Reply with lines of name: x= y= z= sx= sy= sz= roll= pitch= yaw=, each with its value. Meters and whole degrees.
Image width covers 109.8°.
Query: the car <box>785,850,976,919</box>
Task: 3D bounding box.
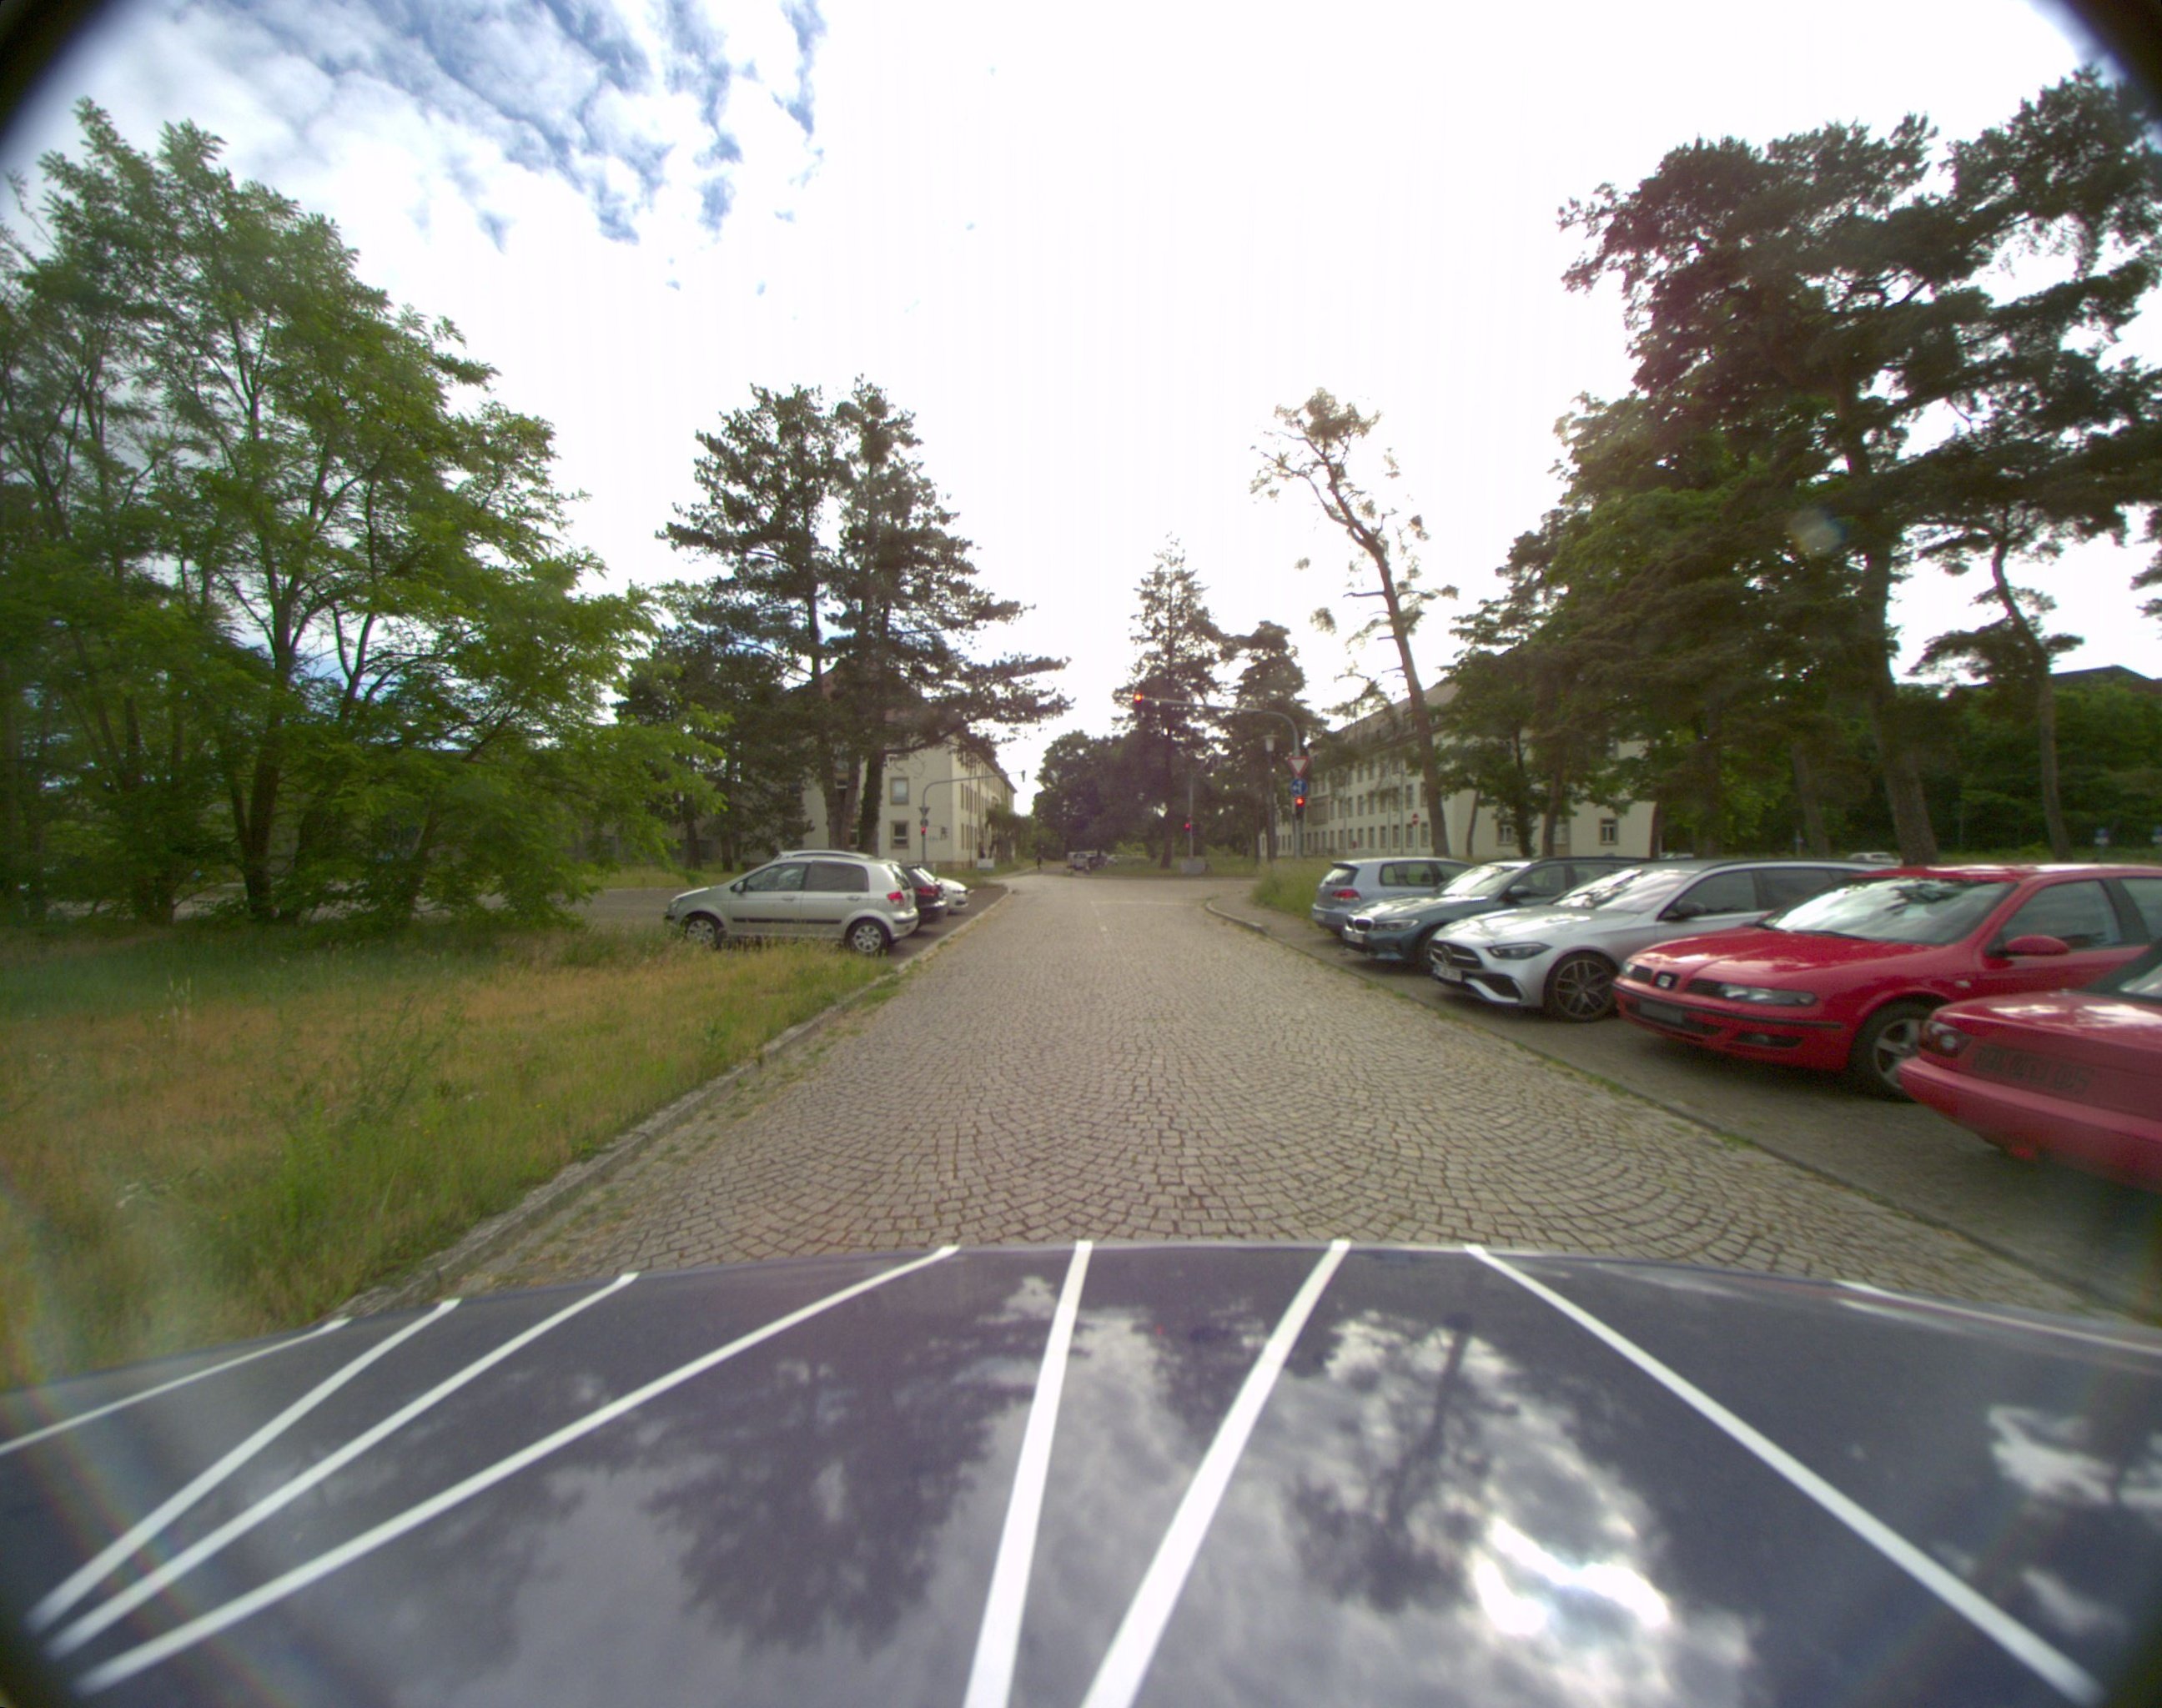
car: x=-5.147 y=0.763 z=20.039 sx=4.505 sy=1.556 sz=1.905 roll=2 pitch=0 yaw=-3

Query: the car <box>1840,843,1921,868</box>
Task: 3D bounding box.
car: x=58.634 y=0.113 z=55.759 sx=3.996 sy=1.796 sz=1.722 roll=0 pitch=1 yaw=2

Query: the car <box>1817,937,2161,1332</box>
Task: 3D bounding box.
car: x=5.954 y=1.066 z=3.062 sx=4.176 sy=1.259 sz=1.831 roll=0 pitch=0 yaw=1

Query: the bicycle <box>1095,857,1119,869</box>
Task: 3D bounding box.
bicycle: x=2.181 y=0.760 z=64.091 sx=1.951 sy=1.059 sz=0.562 roll=0 pitch=1 yaw=-2

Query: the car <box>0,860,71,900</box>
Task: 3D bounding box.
car: x=-42.645 y=1.014 z=29.504 sx=3.998 sy=1.474 sz=1.972 roll=0 pitch=0 yaw=-3

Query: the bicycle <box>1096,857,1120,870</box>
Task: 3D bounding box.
bicycle: x=2.272 y=0.769 z=63.607 sx=1.951 sy=1.059 sz=0.562 roll=0 pitch=1 yaw=-2

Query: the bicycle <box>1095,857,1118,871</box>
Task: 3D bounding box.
bicycle: x=2.071 y=0.801 z=61.874 sx=1.899 sy=1.059 sz=0.616 roll=0 pitch=1 yaw=-2

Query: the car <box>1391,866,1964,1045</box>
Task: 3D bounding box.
car: x=5.734 y=0.910 z=7.727 sx=4.386 sy=1.499 sz=1.935 roll=0 pitch=0 yaw=-3

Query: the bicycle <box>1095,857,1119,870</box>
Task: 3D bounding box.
bicycle: x=2.120 y=0.768 z=62.429 sx=1.951 sy=1.104 sz=0.562 roll=0 pitch=1 yaw=-2

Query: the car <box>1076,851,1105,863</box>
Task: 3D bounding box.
car: x=1.124 y=0.303 z=93.831 sx=3.440 sy=1.440 sz=1.913 roll=0 pitch=0 yaw=-2

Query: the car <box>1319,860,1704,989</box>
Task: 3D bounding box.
car: x=5.722 y=0.879 z=10.471 sx=4.262 sy=1.539 sz=1.935 roll=0 pitch=1 yaw=-4

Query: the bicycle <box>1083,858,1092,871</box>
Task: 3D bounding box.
bicycle: x=0.513 y=0.821 z=60.257 sx=0.459 sy=0.968 sz=1.663 roll=0 pitch=0 yaw=8

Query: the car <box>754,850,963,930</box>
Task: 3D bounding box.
car: x=-4.978 y=0.780 z=17.494 sx=4.252 sy=1.587 sz=1.884 roll=2 pitch=0 yaw=-4

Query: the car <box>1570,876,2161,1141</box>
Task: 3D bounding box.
car: x=6.171 y=0.936 z=5.435 sx=4.177 sy=1.468 sz=1.864 roll=0 pitch=1 yaw=-1

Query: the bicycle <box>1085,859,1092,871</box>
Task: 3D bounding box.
bicycle: x=0.618 y=0.837 z=58.436 sx=0.459 sy=0.903 sz=1.663 roll=0 pitch=0 yaw=3

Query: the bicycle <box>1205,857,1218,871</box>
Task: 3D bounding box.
bicycle: x=8.473 y=0.634 z=49.356 sx=0.294 sy=0.911 sz=1.052 roll=-1 pitch=1 yaw=-22

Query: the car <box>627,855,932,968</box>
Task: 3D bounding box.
car: x=-4.584 y=0.852 z=12.067 sx=4.085 sy=1.506 sz=1.803 roll=2 pitch=0 yaw=-3

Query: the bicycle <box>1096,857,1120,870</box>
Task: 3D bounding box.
bicycle: x=2.195 y=0.781 z=62.959 sx=1.951 sy=1.059 sz=0.562 roll=0 pitch=1 yaw=-2

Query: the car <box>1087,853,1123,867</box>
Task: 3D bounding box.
car: x=2.403 y=0.594 z=76.670 sx=3.440 sy=1.440 sz=1.913 roll=0 pitch=0 yaw=-2

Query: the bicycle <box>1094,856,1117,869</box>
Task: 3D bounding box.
bicycle: x=2.057 y=0.745 z=64.671 sx=1.951 sy=1.059 sz=0.562 roll=0 pitch=1 yaw=-2

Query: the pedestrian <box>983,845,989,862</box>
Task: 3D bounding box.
pedestrian: x=-9.650 y=-0.037 z=77.163 sx=0.568 sy=1.691 sz=0.532 roll=0 pitch=1 yaw=3

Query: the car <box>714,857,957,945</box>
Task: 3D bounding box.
car: x=-4.603 y=0.869 z=14.777 sx=4.085 sy=1.444 sz=1.884 roll=2 pitch=0 yaw=-3

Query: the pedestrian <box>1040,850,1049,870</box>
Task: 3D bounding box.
pedestrian: x=-3.527 y=0.619 z=73.460 sx=0.589 sy=1.926 sz=0.791 roll=-1 pitch=1 yaw=-34

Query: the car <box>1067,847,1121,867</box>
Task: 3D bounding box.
car: x=1.388 y=0.328 z=80.291 sx=5.367 sy=1.987 sz=2.289 roll=0 pitch=1 yaw=-9

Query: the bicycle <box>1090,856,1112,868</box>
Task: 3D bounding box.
bicycle: x=1.790 y=0.689 z=67.866 sx=1.951 sy=1.059 sz=0.562 roll=0 pitch=1 yaw=-2

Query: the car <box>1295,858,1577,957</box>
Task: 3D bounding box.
car: x=5.961 y=0.860 z=13.119 sx=3.998 sy=1.534 sz=1.905 roll=0 pitch=1 yaw=-2
